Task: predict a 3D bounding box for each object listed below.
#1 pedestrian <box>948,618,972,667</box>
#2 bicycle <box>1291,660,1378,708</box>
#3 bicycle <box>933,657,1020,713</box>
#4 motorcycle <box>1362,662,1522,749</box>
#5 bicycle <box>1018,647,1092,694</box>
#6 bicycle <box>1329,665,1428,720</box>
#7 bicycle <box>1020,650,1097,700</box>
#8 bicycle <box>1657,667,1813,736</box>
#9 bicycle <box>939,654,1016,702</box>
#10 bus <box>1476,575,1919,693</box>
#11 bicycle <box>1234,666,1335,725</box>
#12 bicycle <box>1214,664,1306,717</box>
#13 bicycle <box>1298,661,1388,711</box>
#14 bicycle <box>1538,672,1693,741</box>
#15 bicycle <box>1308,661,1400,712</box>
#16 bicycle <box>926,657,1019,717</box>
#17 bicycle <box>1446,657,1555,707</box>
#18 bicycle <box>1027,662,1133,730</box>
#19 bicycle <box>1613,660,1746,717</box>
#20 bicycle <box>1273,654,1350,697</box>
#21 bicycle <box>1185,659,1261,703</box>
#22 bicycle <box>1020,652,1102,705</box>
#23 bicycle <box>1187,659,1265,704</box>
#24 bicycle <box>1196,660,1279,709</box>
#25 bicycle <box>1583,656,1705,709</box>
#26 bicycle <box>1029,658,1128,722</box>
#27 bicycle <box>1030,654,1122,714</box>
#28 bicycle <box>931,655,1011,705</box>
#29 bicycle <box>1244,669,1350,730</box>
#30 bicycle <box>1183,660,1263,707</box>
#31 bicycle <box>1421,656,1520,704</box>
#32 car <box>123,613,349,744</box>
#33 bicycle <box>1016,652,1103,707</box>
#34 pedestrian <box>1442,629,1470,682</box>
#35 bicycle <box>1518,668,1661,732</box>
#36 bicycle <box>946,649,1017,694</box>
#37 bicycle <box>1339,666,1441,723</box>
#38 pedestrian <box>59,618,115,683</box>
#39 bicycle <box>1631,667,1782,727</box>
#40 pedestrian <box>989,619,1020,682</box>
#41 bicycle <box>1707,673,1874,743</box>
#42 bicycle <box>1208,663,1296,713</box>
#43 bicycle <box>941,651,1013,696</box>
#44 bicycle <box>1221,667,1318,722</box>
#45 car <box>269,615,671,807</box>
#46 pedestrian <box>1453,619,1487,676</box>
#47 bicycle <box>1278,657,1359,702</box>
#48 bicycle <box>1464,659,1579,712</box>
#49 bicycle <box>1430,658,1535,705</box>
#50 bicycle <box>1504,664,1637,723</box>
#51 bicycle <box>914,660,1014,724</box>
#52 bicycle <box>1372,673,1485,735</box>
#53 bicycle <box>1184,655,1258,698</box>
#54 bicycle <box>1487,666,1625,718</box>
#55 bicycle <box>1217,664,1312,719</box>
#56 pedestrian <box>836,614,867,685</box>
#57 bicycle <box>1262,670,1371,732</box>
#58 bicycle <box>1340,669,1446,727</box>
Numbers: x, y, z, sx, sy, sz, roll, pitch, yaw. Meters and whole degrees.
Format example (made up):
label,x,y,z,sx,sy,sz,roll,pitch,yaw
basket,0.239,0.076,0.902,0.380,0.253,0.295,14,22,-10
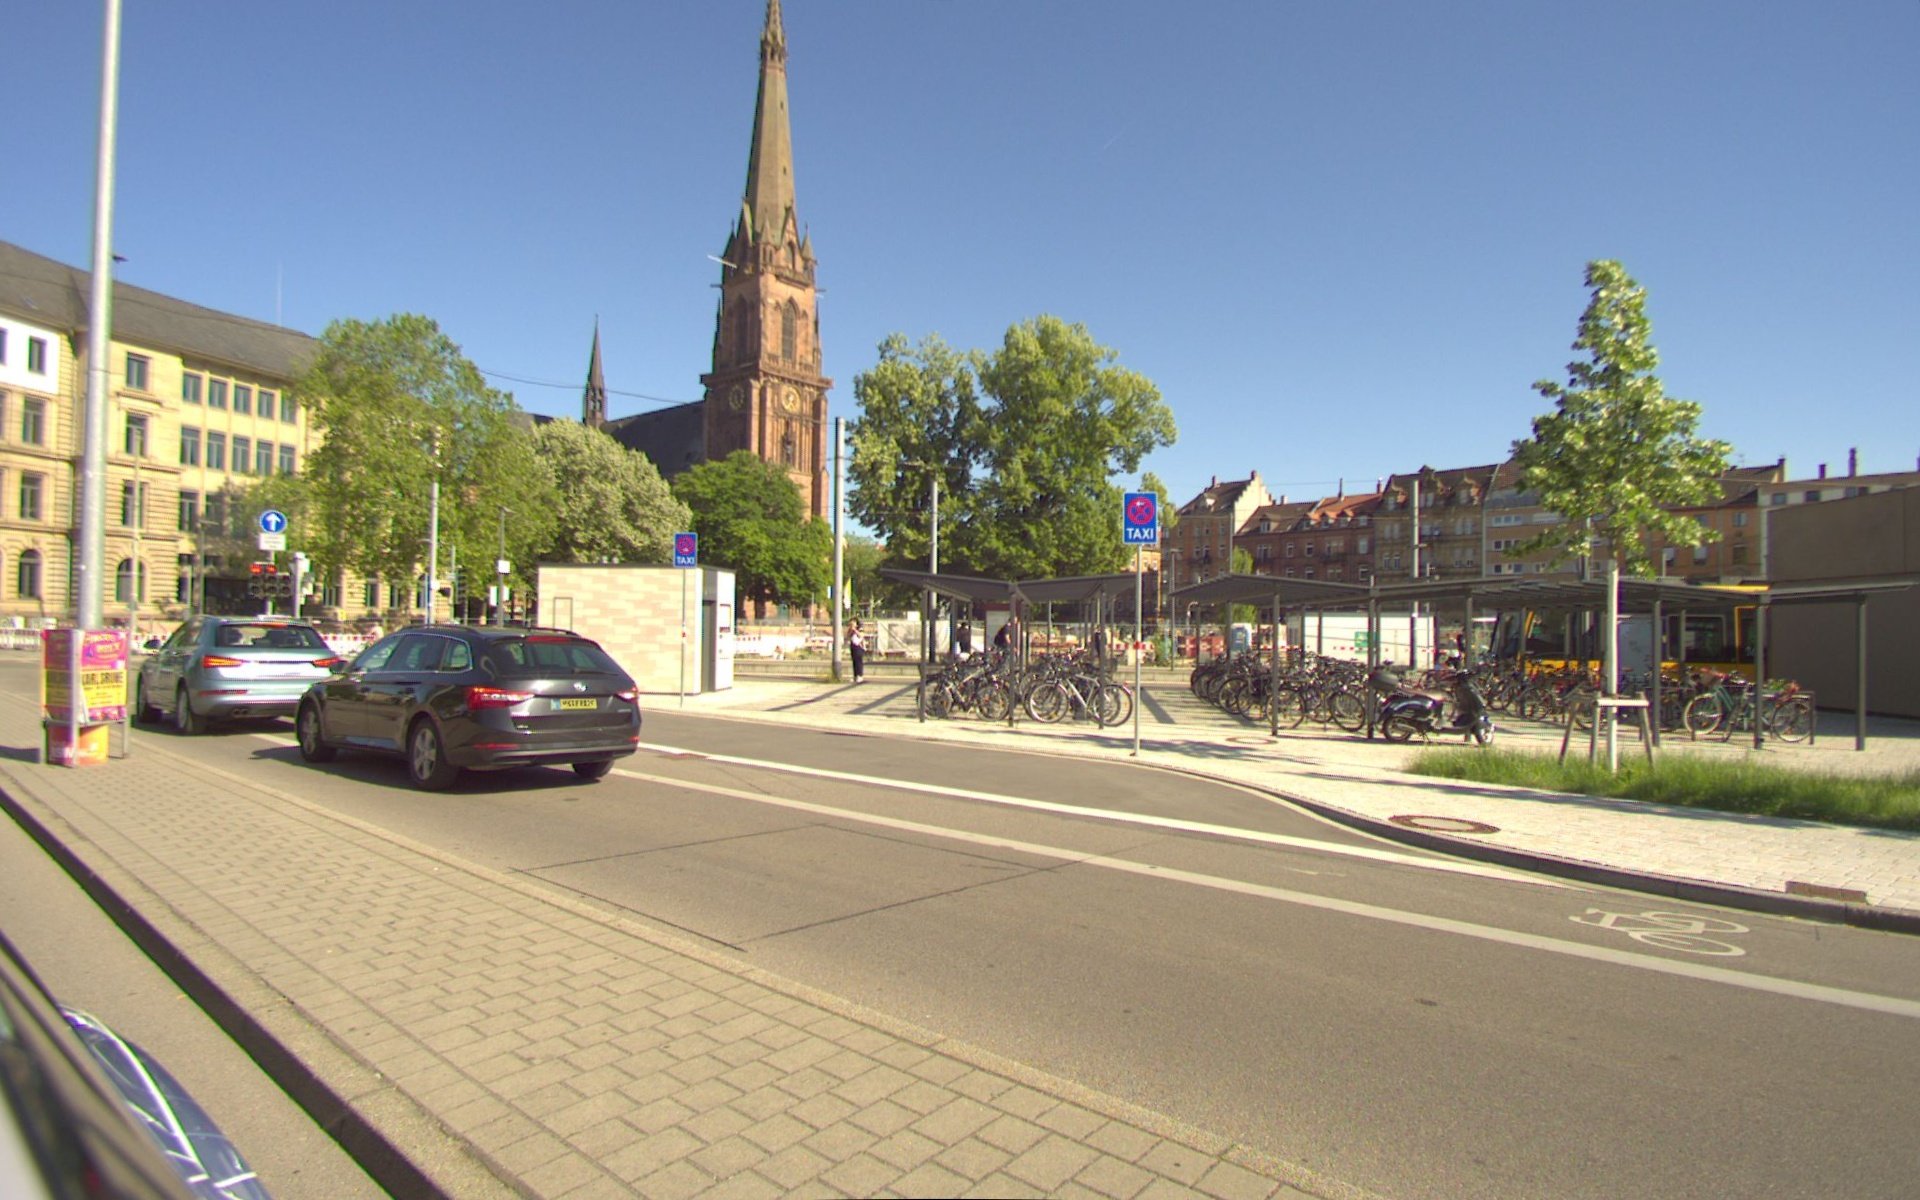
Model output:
label,x,y,z,sx,sy,sz,roll,pitch,yaw
pedestrian,0.006,1.639,39.082,0.610,1.874,0.703,2,-2,-39
bicycle,7.989,1.788,21.616,1.661,0.980,0.406,-1,0,3
bicycle,0.329,1.663,19.938,1.663,1.006,0.406,2,0,8
motorcycle,7.194,1.569,15.153,2.059,1.228,0.569,-1,-2,3
bicycle,2.315,1.723,24.671,1.755,1.083,0.406,1,0,6
bicycle,7.843,1.729,19.006,1.661,0.980,0.406,-1,0,3
bicycle,2.273,1.730,23.492,1.755,1.083,0.406,1,0,6
bicycle,12.976,1.695,16.983,2.030,1.087,0.604,-1,0,7
bicycle,0.385,1.704,22.278,1.663,1.006,0.406,0,0,8
bus,22.265,0.933,28.604,13.462,3.095,2.859,0,-2,6
bicycle,5.816,1.708,18.182,1.661,0.980,0.406,1,0,3
bicycle,5.902,1.780,19.952,1.661,0.980,0.406,1,0,3
bicycle,7.862,1.759,20.819,1.661,0.980,0.406,-1,0,3
bicycle,10.573,1.709,16.382,2.048,1.045,0.533,-1,0,8
bicycle,7.858,1.729,20.222,1.661,0.980,0.406,-1,0,3
bicycle,0.232,1.596,18.595,1.663,1.006,0.406,2,0,8
bicycle,11.867,1.800,22.249,2.048,1.045,0.533,-1,2,8
bicycle,2.023,1.605,17.086,1.753,1.083,0.406,1,-3,6
bicycle,13.853,1.698,19.518,2.048,1.045,0.533,-1,0,8
bicycle,8.292,1.784,23.908,1.661,0.980,0.406,-1,0,3
bicycle,6.138,1.880,23.617,1.661,0.980,0.406,1,-5,3
bicycle,2.194,1.693,22.022,1.755,1.083,0.406,1,0,6
bicycle,6.054,1.859,23.044,1.661,0.980,0.406,1,-5,3
bicycle,5.926,1.804,21.633,1.661,0.980,0.406,1,-5,3
bicycle,14.079,1.695,20.870,2.048,1.045,0.533,-1,0,8
bicycle,2.140,1.616,18.330,1.753,1.083,0.406,1,0,6
bicycle,2.236,1.619,19.576,1.755,1.083,0.406,1,0,6
bicycle,0.230,1.675,21.398,1.663,1.006,0.406,0,0,8
bicycle,5.794,1.708,17.456,1.661,0.980,0.406,1,0,3
bicycle,5.787,1.836,22.290,1.661,0.980,0.406,1,-5,3
bicycle,12.301,1.918,24.422,2.048,1.045,0.533,1,3,8
car,-10.455,1.044,14.493,4.258,1.594,1.768,-1,-4,43
bicycle,2.053,1.642,20.966,1.755,1.083,0.406,1,0,6
pedestrian,19.044,2.122,38.873,0.793,2.029,0.535,0,-2,4
bicycle,10.944,1.737,17.637,2.048,1.045,0.533,-1,0,8
bicycle,0.518,1.701,24.181,1.663,1.006,0.406,0,0,8
bicycle,7.824,1.721,18.453,1.661,0.980,0.406,-1,0,3
pedestrian,-22.853,1.310,26.512,0.628,1.680,0.923,-1,-2,30
bicycle,13.479,1.745,18.323,2.117,1.005,0.690,-1,0,7
pedestrian,1.248,1.397,28.263,0.823,1.740,0.620,0,-2,4
bicycle,13.160,1.708,16.075,2.048,1.045,0.533,-1,0,8
bicycle,5.926,1.784,20.557,1.661,0.980,0.406,1,-5,3
bicycle,0.394,1.701,23.656,1.663,1.006,0.406,0,0,8
bicycle,5.729,1.749,18.761,1.661,0.980,0.406,-1,0,3
car,-5.131,0.976,10.266,4.780,1.516,1.795,-1,-4,40
pedestrian,17.785,1.651,35.330,0.793,1.931,0.769,0,-2,4
bicycle,8.074,1.787,22.832,1.661,0.980,0.406,-1,0,3
bicycle,11.777,1.794,21.258,2.048,1.045,0.533,-1,2,8
bicycle,12.032,1.878,23.367,2.048,1.045,0.533,-1,-4,8
bicycle,11.323,1.732,18.805,2.048,1.045,0.533,-1,0,8
bicycle,0.068,1.573,17.376,1.663,1.006,0.406,2,0,8
bicycle,7.768,1.722,16.815,1.661,0.980,0.406,-1,0,3
bicycle,6.257,1.835,24.305,1.661,0.980,0.406,1,-5,3
bicycle,11.615,1.797,19.783,2.208,0.951,0.685,-1,0,7
bicycle,5.815,1.736,19.369,1.661,0.980,0.406,1,0,3
pedestrian,-2.906,1.326,27.234,0.614,1.874,0.699,0,-2,14
bicycle,5.934,1.684,16.883,1.661,0.980,0.406,-1,0,3
bicycle,7.644,1.724,17.885,1.661,0.980,0.406,-1,0,3
